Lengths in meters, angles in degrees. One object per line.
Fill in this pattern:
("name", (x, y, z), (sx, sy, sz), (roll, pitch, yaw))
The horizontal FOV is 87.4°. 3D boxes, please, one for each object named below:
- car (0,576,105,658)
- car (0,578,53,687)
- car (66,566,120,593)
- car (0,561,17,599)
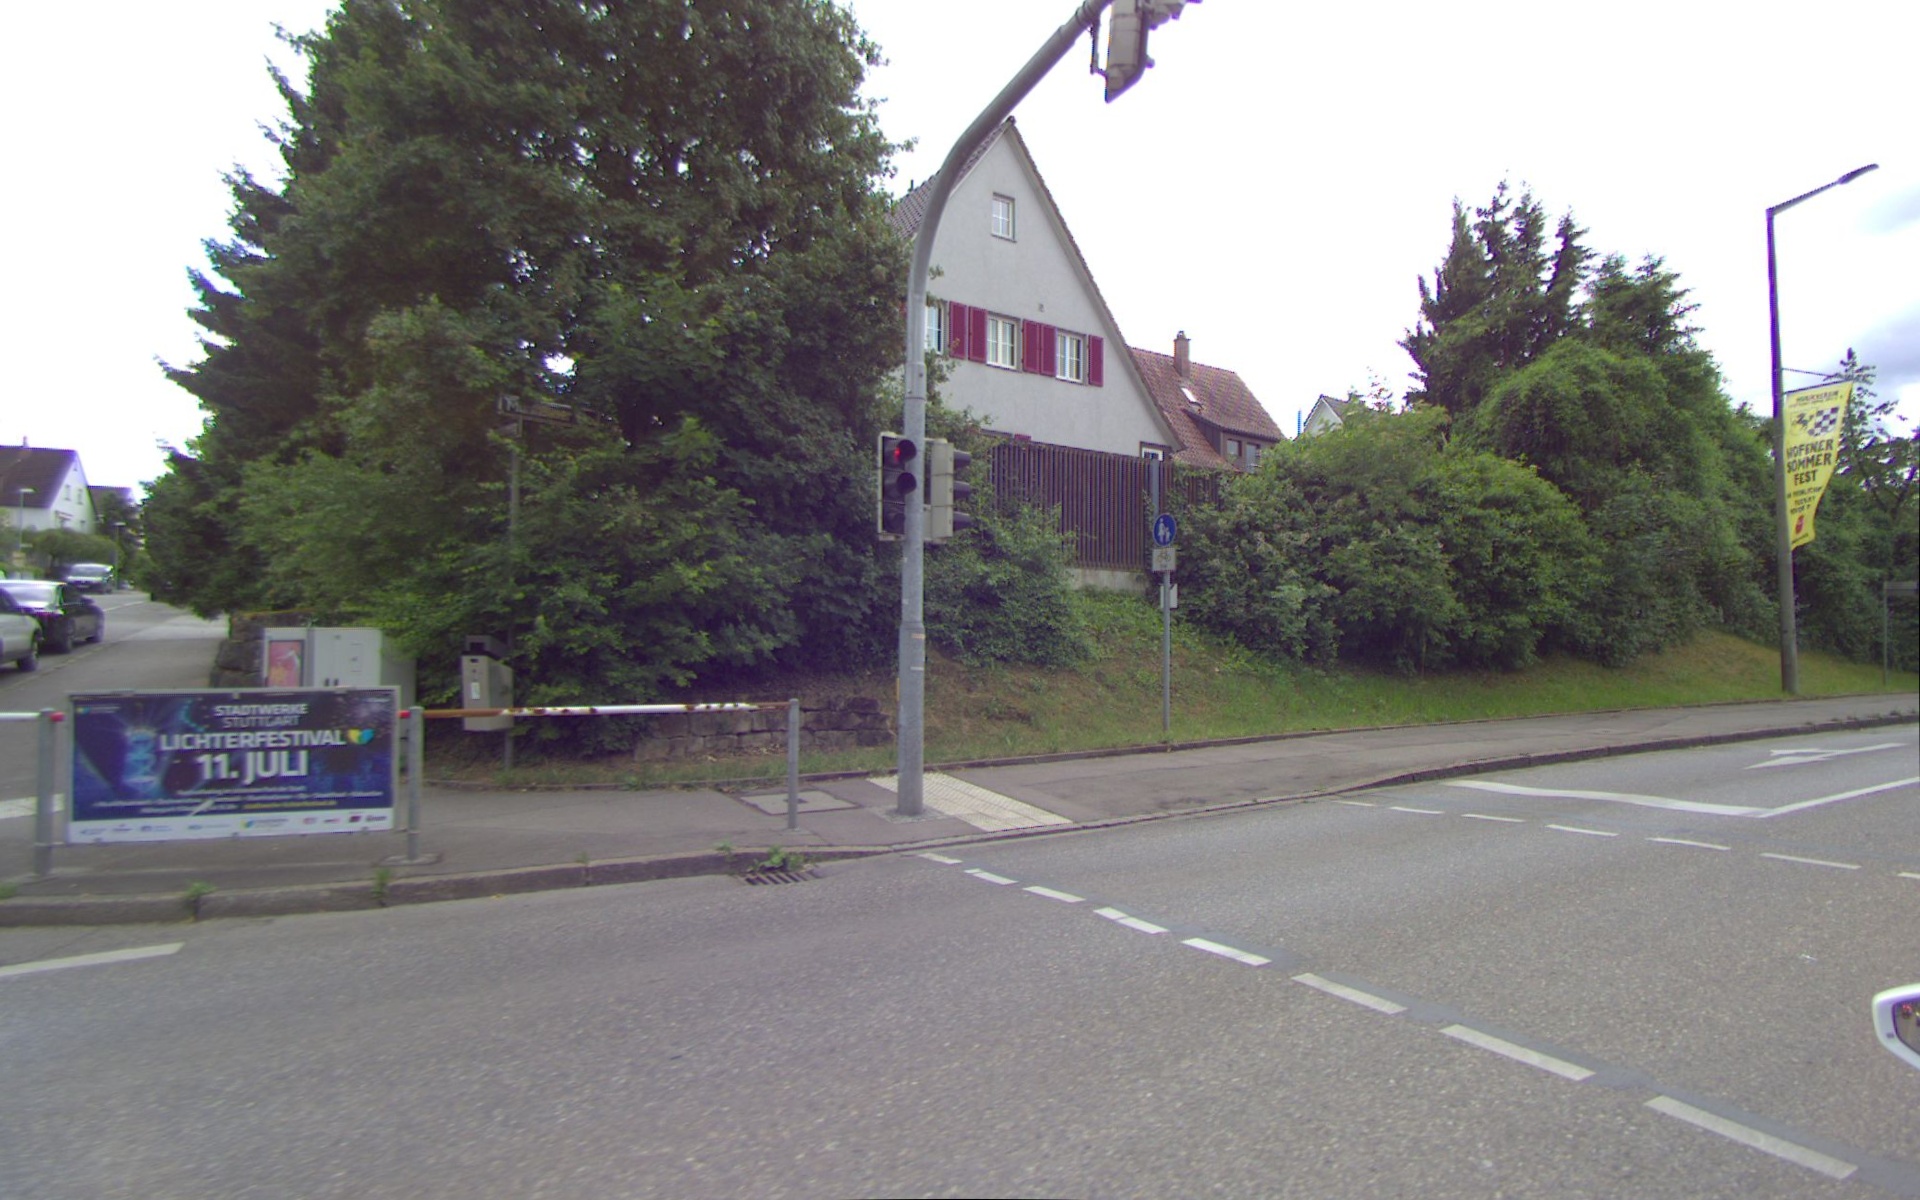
("car", (-20.125, 0.314, 21.838), (1.781, 1.530, 3.963), (1, 2, -33))
("car", (-16.849, 0.475, 16.722), (1.897, 1.663, 3.963), (3, 0, -33))
("car", (-53.609, -1.308, 62.161), (1.779, 1.530, 3.967), (2, 1, -30))
("car", (-40.053, -0.831, 40.714), (1.779, 1.530, 3.967), (2, 1, -30))
